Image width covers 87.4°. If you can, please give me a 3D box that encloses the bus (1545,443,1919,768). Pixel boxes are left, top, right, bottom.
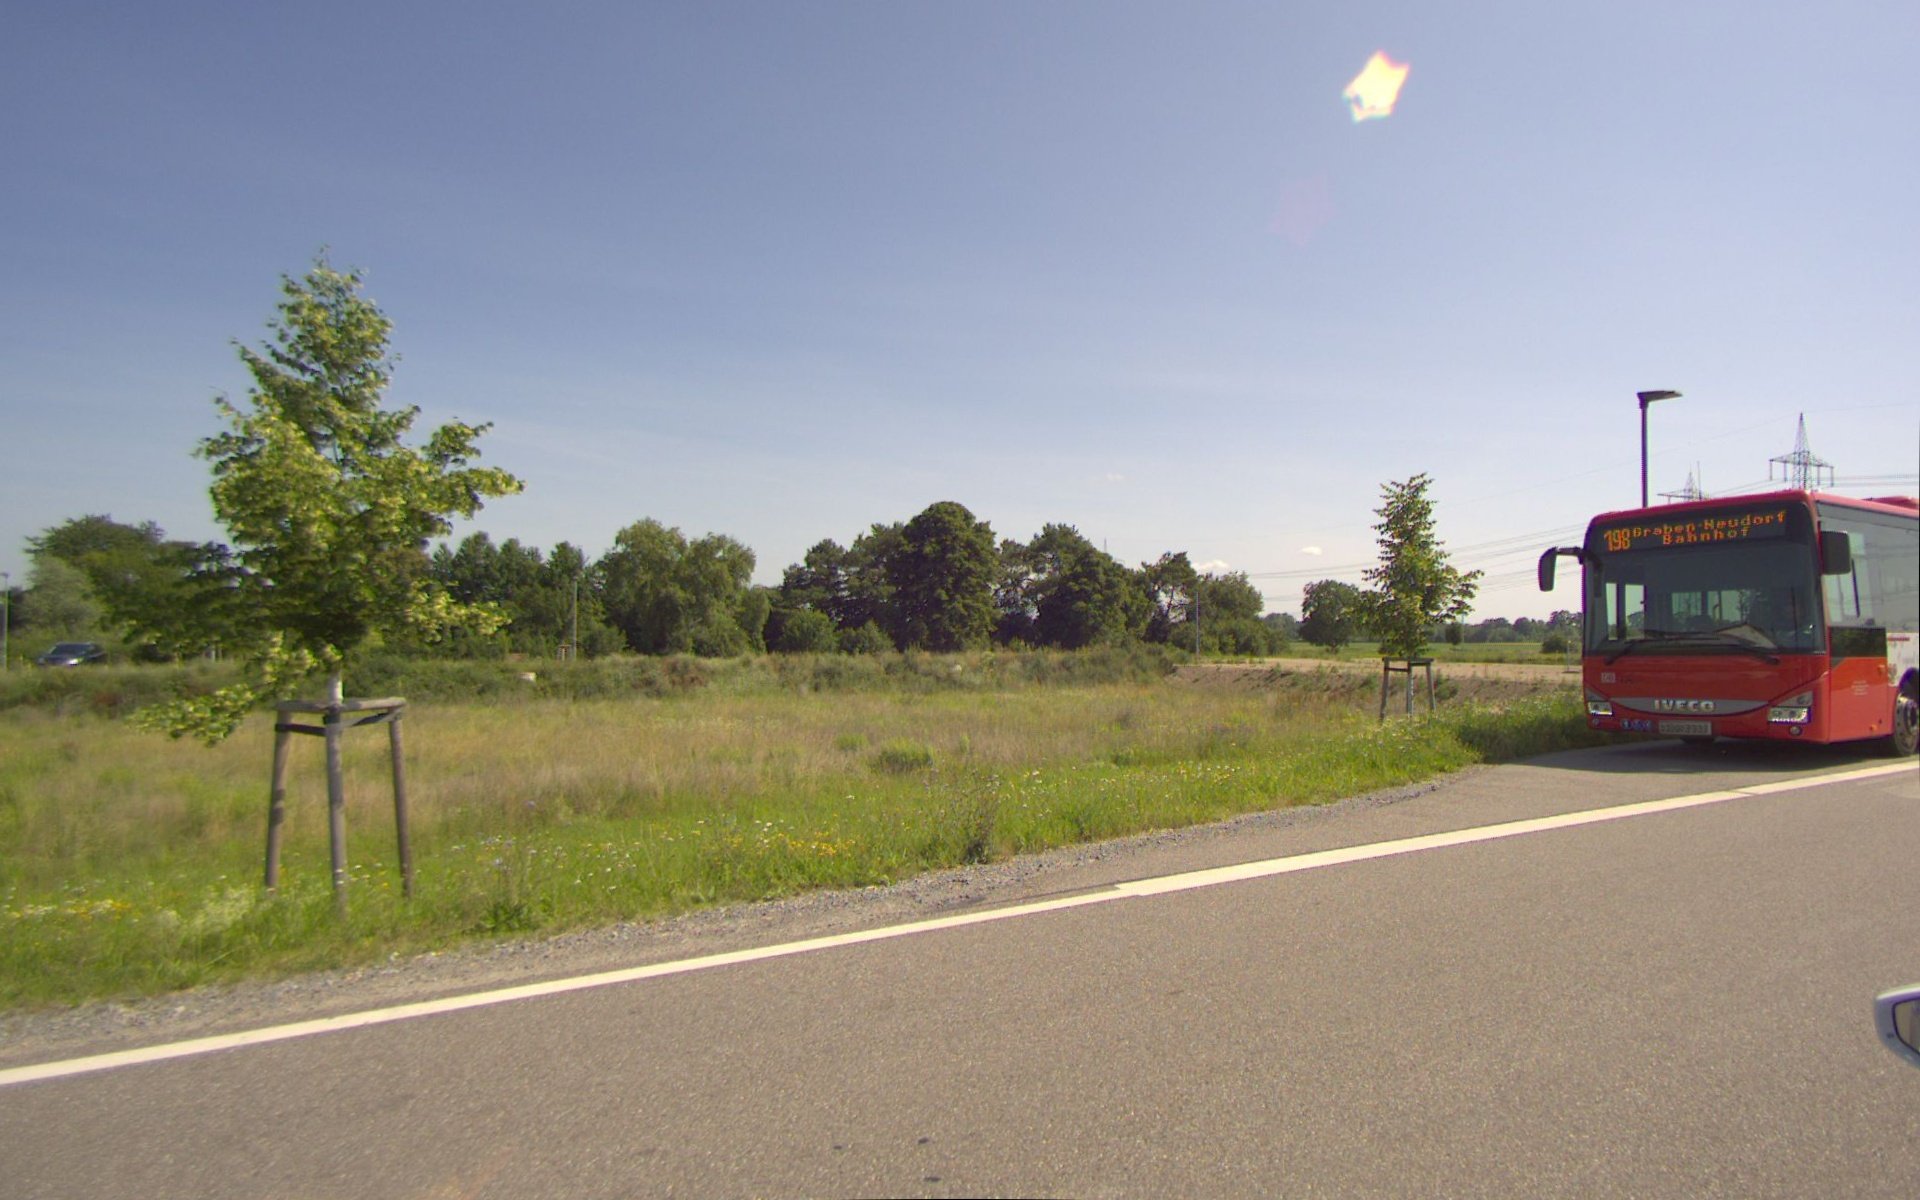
[{"bbox_3d":[13.323,0.233,14.647,12.089,3.330,2.781,1,-3,-31],"label":"bus"}]

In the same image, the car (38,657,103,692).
[{"bbox_3d":[-41.980,3.477,47.476,1.494,1.555,3.530,2,-3,-29],"label":"car"}]
